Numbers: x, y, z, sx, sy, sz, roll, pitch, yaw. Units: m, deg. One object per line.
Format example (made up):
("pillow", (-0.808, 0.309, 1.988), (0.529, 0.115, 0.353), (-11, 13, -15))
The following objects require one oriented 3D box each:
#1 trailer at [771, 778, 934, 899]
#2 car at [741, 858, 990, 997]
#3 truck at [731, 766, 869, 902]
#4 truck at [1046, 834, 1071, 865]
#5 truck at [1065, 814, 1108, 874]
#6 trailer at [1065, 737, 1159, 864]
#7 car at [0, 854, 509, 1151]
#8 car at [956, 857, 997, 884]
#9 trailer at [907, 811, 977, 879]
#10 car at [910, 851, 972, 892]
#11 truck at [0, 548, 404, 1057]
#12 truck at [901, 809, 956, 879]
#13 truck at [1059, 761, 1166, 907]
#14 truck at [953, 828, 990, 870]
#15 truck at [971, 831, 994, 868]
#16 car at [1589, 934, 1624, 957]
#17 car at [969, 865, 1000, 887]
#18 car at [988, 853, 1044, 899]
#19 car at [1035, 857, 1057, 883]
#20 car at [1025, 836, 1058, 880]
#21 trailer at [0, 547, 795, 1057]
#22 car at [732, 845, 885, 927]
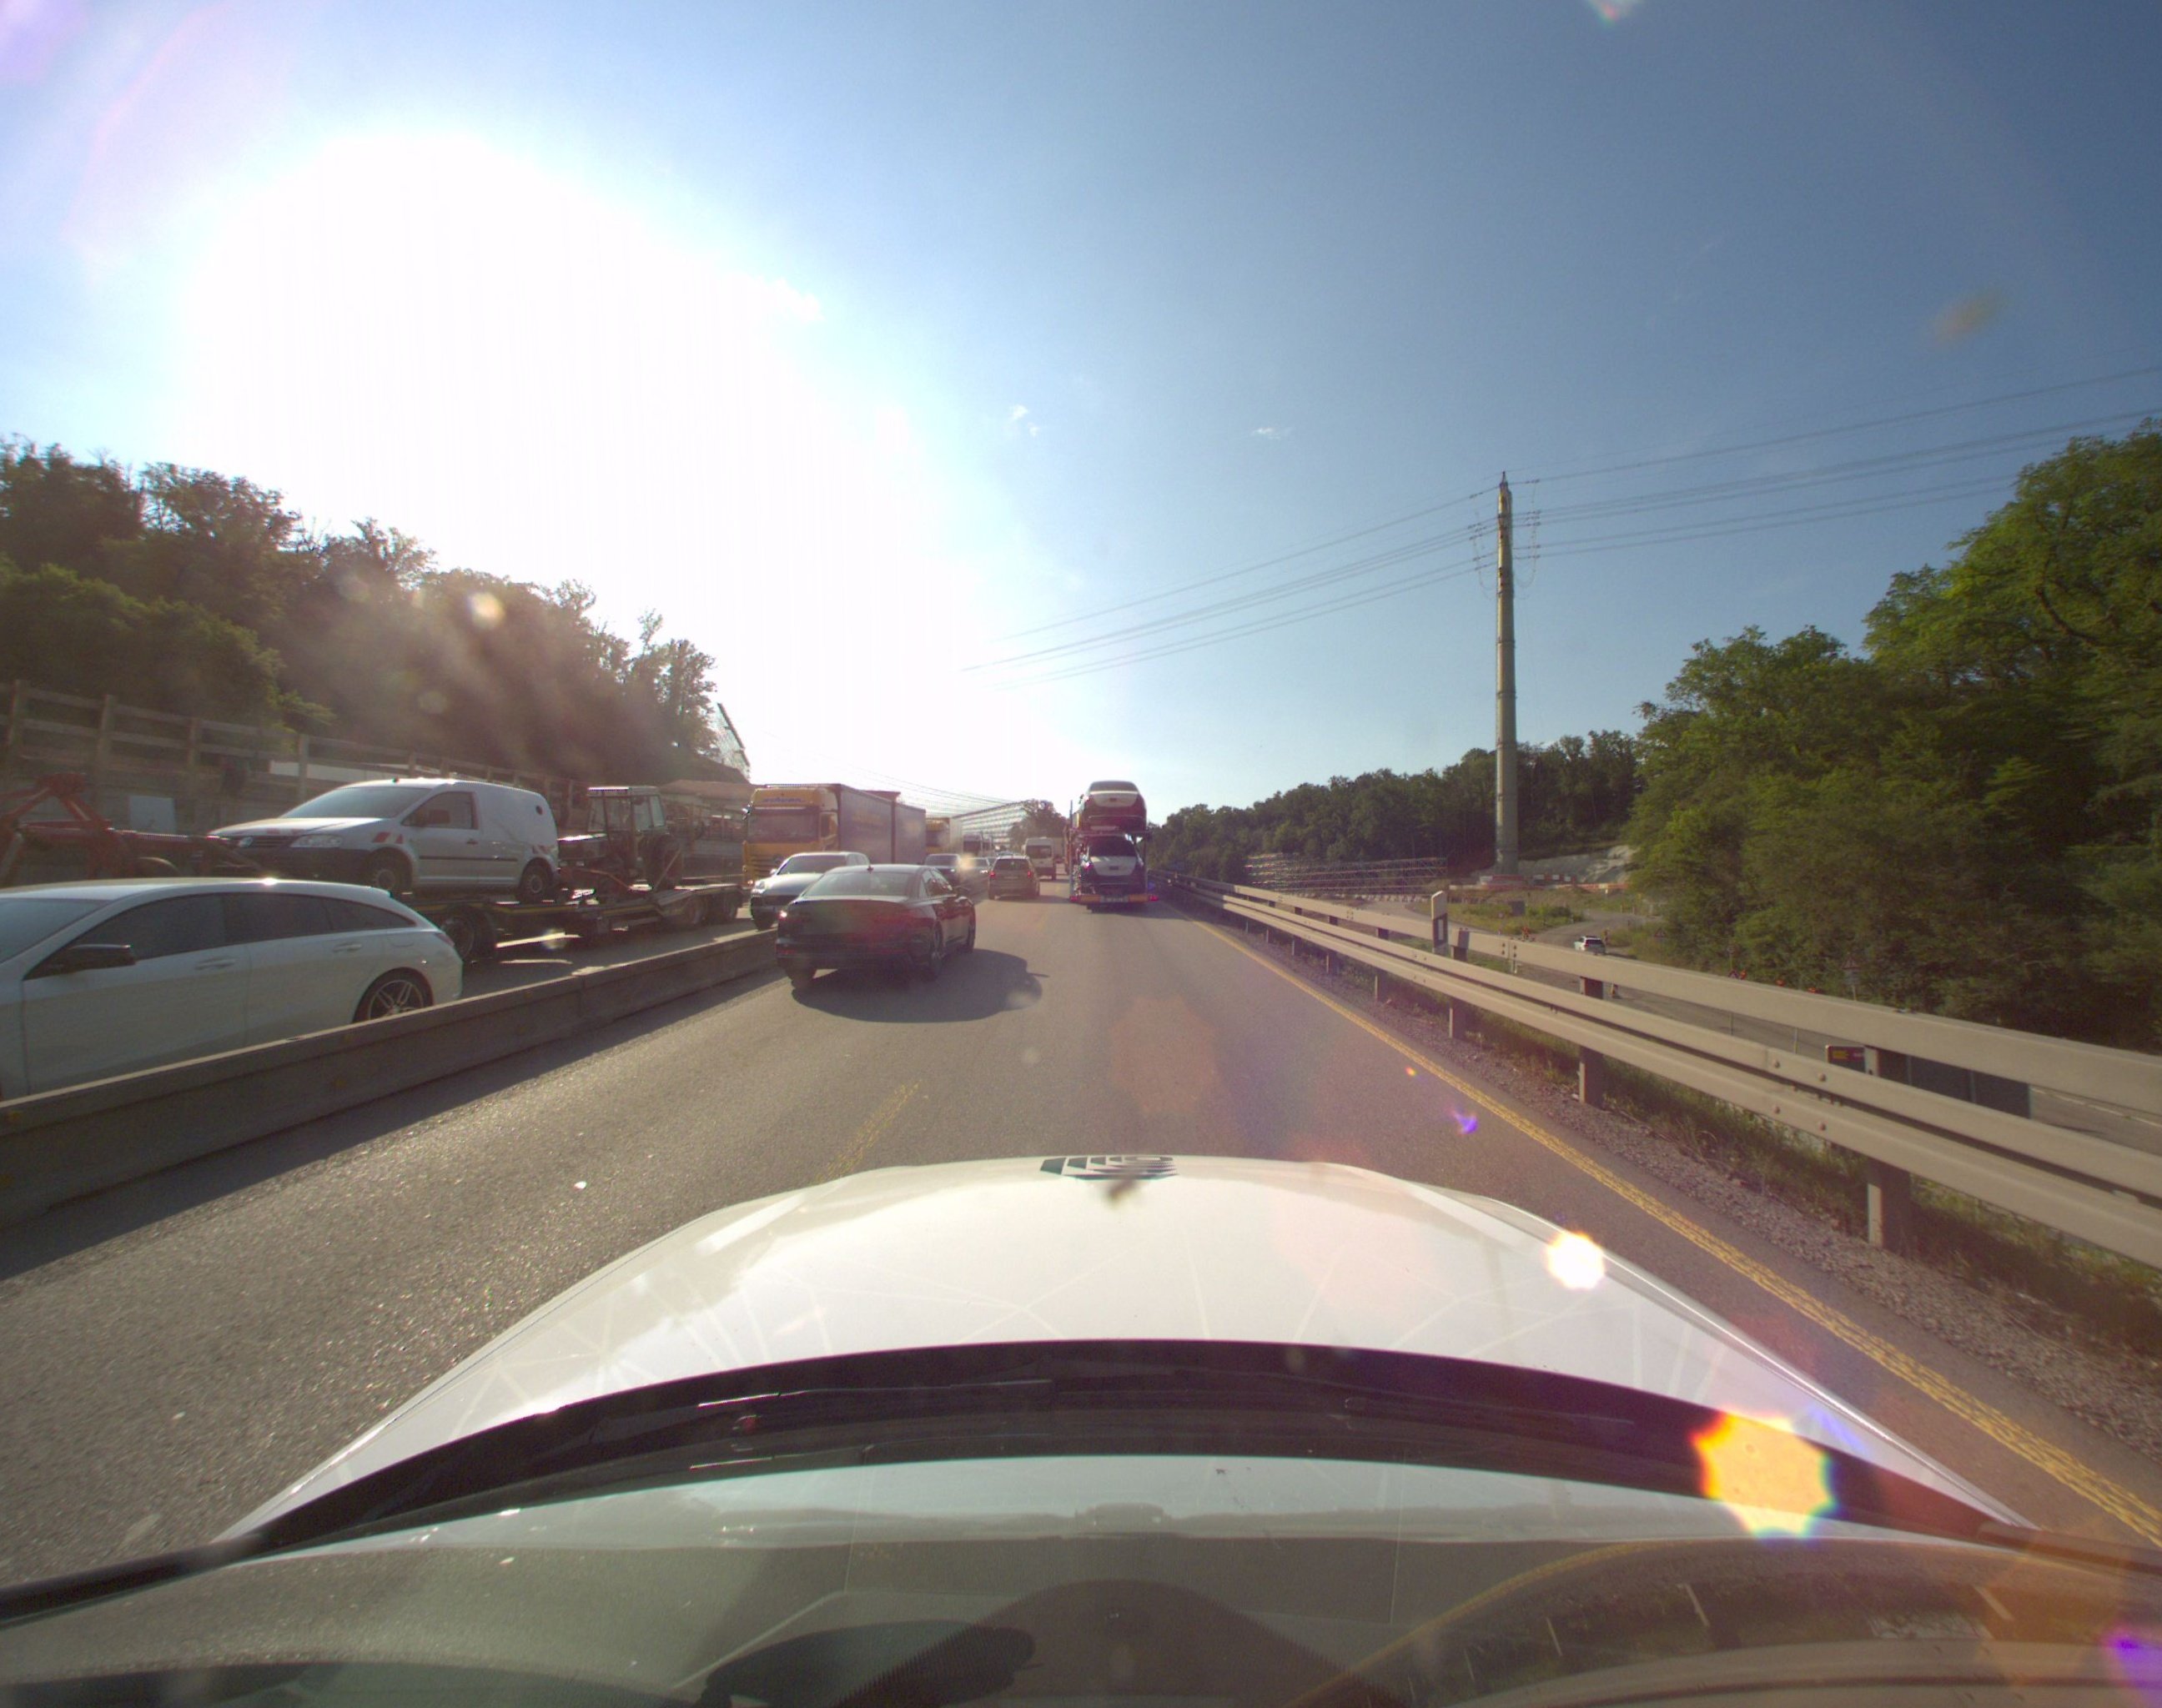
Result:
("trailer", (-9.425, -0.393, 36.584), (2.706, 4.135, 16.745), (-1, -1, 0))
("car", (-2.679, 0.840, 11.606), (1.933, 1.480, 5.224), (-2, -1, 2))
("truck", (-9.376, -0.566, 27.893), (2.693, 4.141, 5.792), (-1, -1, -1))
("truck", (-3.499, -0.731, 127.204), (3.638, 4.677, 11.687), (0, 0, -2))
("truck", (0.277, -0.825, 69.296), (3.219, 4.677, 11.687), (0, 0, -2))
("trailer", (0.855, -1.651, 33.994), (2.867, 3.994, 15.267), (-1, -1, -2))
("car", (-6.401, 0.806, 5.288), (1.796, 1.521, 4.819), (-2, -1, 2))
("car", (-6.122, 0.980, 48.194), (1.783, 1.498, 4.723), (-1, -1, 0))
("trailer", (-9.746, -0.407, 59.045), (2.694, 4.204, 15.985), (-1, -1, -2))
("car", (-6.143, 0.777, 36.308), (1.921, 1.701, 4.690), (-1, -1, 0))
("truck", (-9.427, -0.353, 6.016), (2.739, 3.805, 7.112), (-2, -1, 1))
("truck", (-9.507, -0.551, 51.232), (2.687, 4.197, 4.394), (-1, -1, -2))
("truck", (0.955, -0.494, 25.306), (2.859, 3.980, 5.773), (-1, -1, 2))
("truck", (-11.087, -0.366, 83.705), (2.803, 3.970, 13.873), (-1, -1, -4))
("truck", (-12.039, -0.468, 99.842), (2.439, 4.272, 6.311), (-1, -1, -4))
("car", (42.076, 7.307, 65.213), (1.511, 1.461, 4.293), (-2, -2, 44))
("car", (-6.879, 1.556, 58.398), (1.792, 1.453, 4.613), (-1, -1, -1))
("car", (-2.392, 0.804, 30.786), (1.695, 1.587, 4.147), (-1, -1, 1))
("car", (-2.840, 1.275, 65.529), (1.525, 2.014, 3.993), (2, -1, -4))
("car", (-2.477, 0.282, 51.607), (1.974, 2.684, 4.144), (-1, -1, -2))
("trailer", (-9.268, -0.287, 13.902), (2.739, 3.816, 16.049), (-2, -1, 1))
("car", (-6.157, 0.695, 19.083), (1.953, 1.645, 4.847), (-1, -1, 0))
